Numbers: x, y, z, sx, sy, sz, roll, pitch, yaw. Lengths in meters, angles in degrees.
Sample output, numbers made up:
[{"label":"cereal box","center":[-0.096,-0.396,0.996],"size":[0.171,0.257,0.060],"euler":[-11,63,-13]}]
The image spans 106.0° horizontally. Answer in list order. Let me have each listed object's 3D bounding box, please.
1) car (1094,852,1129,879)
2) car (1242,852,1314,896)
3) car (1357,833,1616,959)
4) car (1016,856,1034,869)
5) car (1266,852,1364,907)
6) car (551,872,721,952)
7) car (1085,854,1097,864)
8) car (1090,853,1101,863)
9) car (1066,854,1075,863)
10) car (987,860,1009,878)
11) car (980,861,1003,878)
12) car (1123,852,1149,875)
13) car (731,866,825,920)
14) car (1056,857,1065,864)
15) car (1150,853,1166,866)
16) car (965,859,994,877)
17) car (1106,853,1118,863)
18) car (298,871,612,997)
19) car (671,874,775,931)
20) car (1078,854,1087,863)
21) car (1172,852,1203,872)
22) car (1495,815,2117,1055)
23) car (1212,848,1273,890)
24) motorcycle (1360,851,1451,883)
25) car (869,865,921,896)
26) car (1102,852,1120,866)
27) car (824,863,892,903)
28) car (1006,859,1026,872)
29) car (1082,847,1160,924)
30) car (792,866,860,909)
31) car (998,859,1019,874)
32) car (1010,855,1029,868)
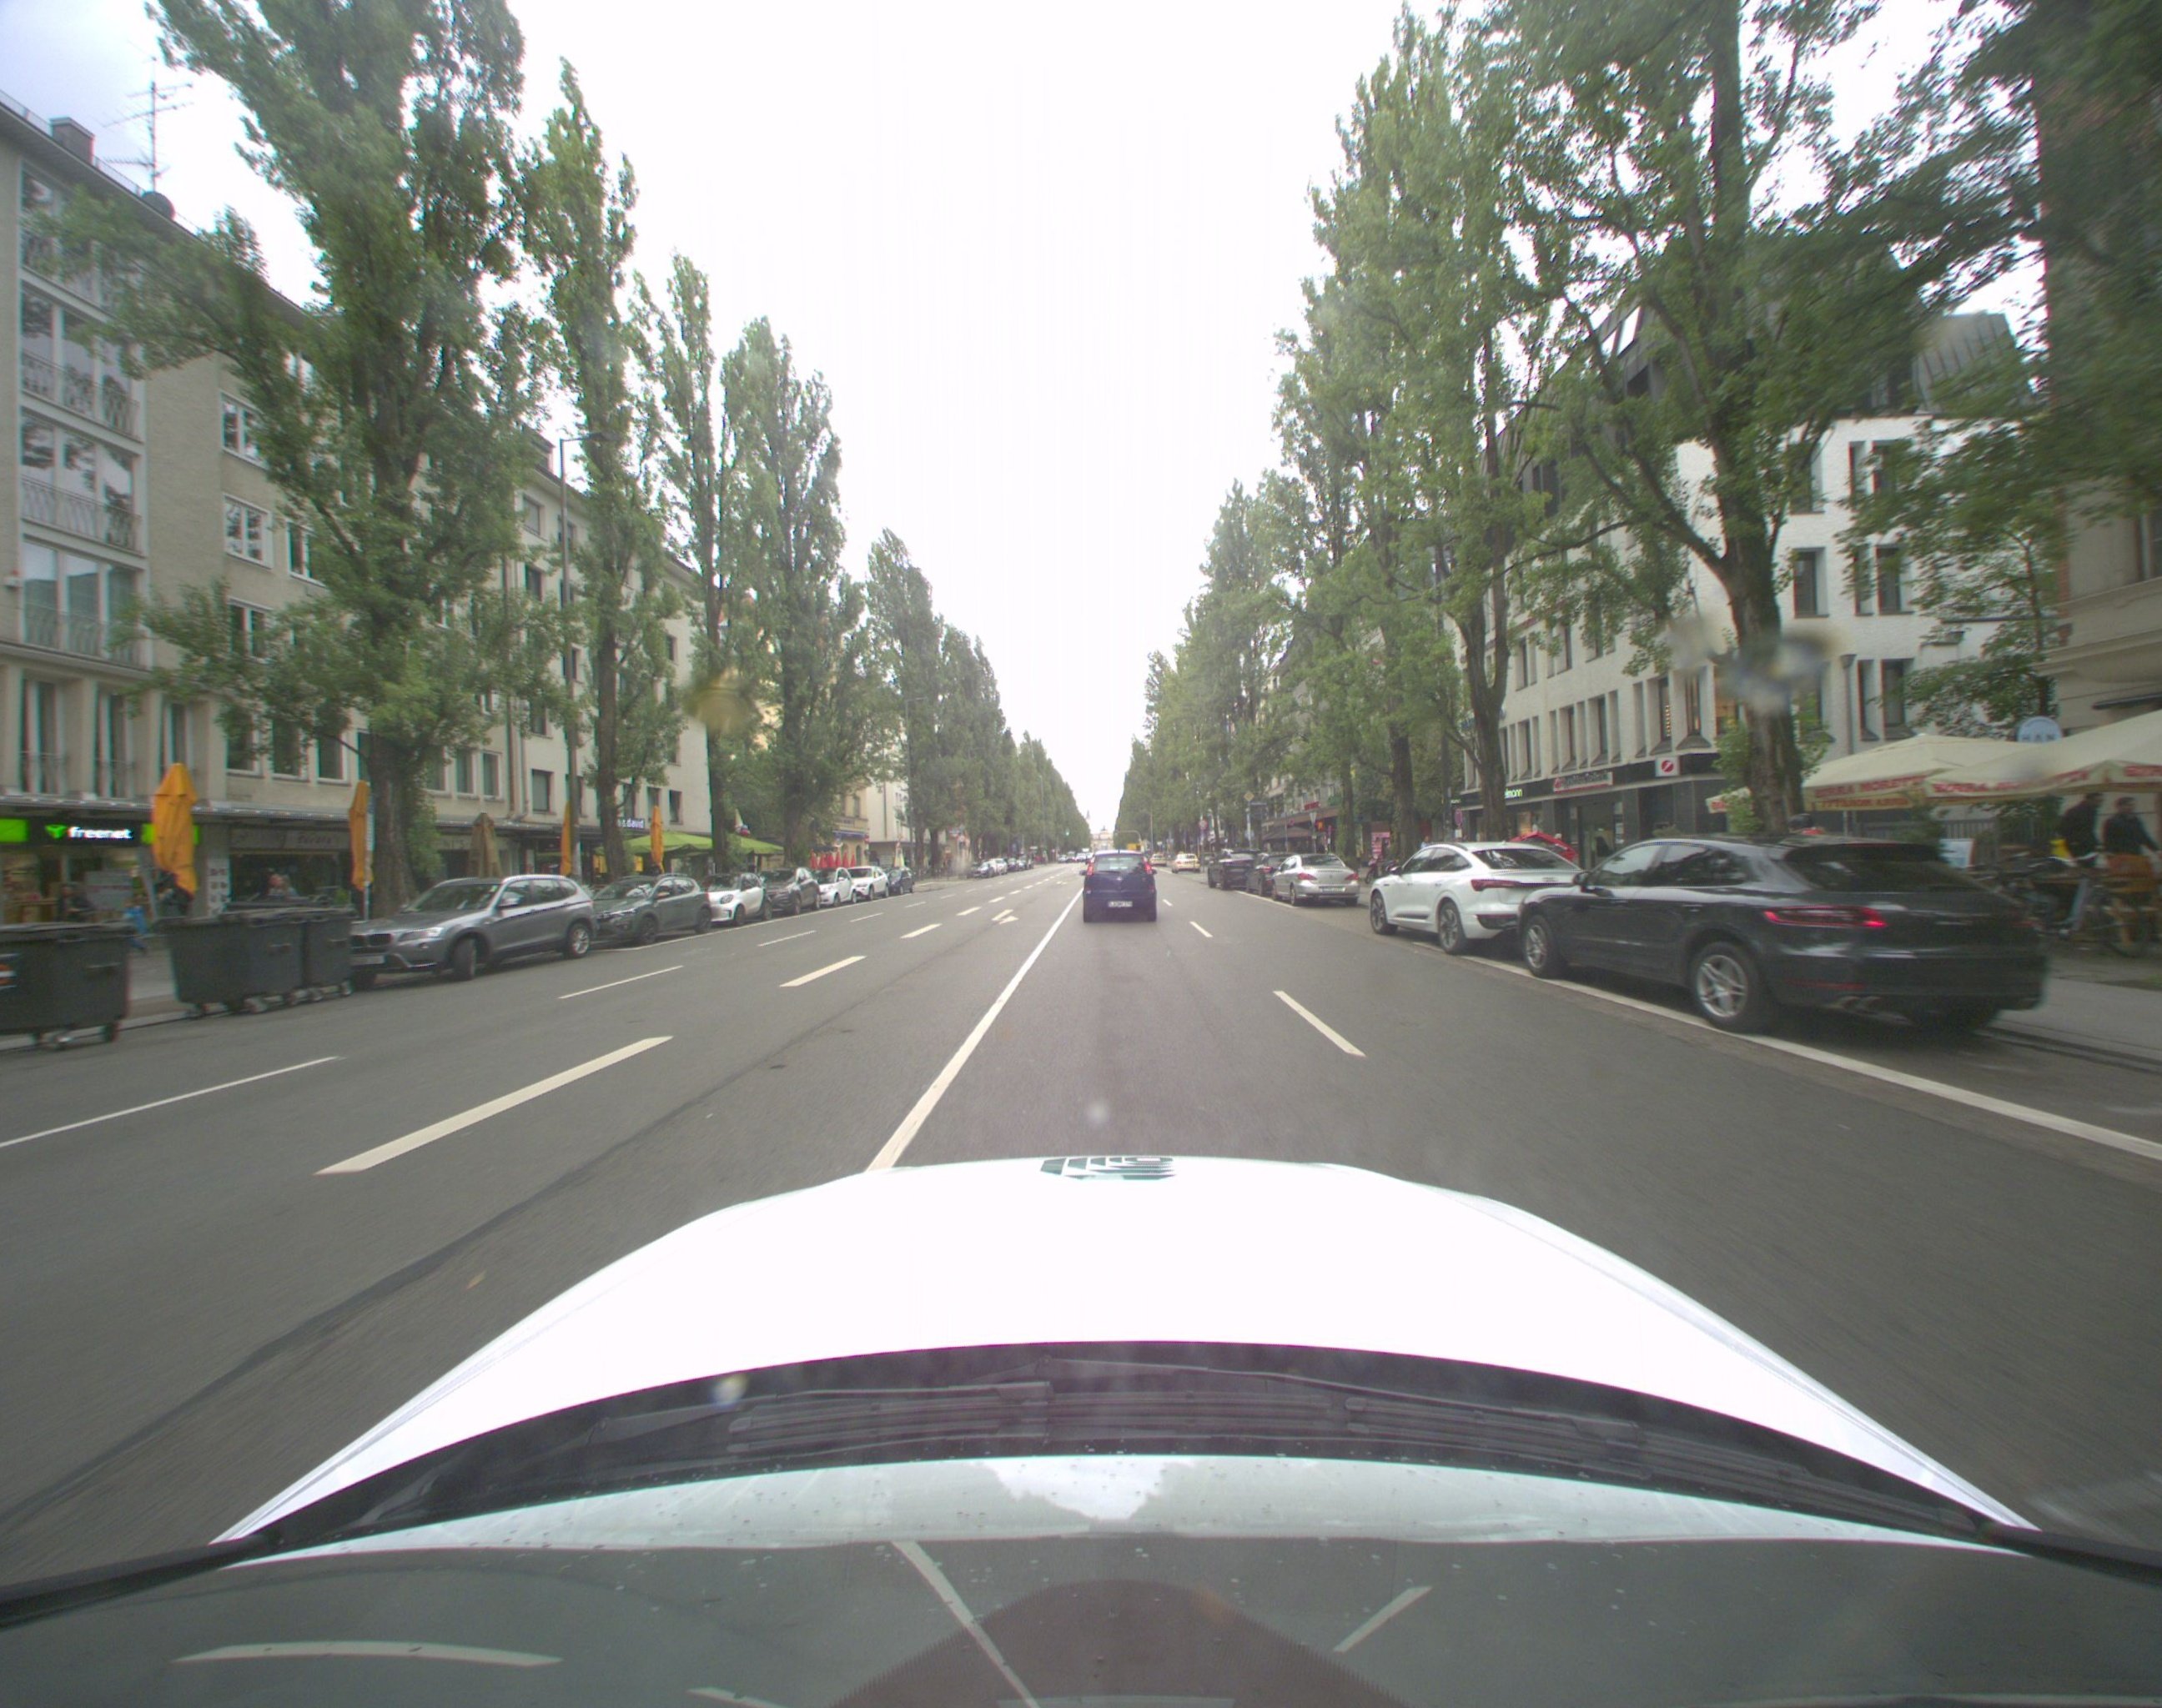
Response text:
[{"label":"car","center":[1.832,0.675,50.063],"size":[1.987,1.497,4.000],"euler":[-2,0,1]},{"label":"car","center":[6.737,0.655,28.192],"size":[1.676,1.415,3.583],"euler":[0,0,1]},{"label":"car","center":[6.113,0.557,13.033],"size":[1.821,1.621,4.748],"euler":[-1,0,1]},{"label":"car","center":[-7.433,1.116,108.501],"size":[1.987,1.662,4.000],"euler":[-2,0,1]},{"label":"car","center":[6.570,0.669,23.262],"size":[1.664,1.406,4.128],"euler":[0,0,1]},{"label":"car","center":[-10.298,1.271,19.251],"size":[1.692,1.550,4.082],"euler":[-2,0,0]},{"label":"car","center":[1.642,0.817,131.185],"size":[1.955,1.399,3.779],"euler":[-2,0,1]},{"label":"car","center":[2.525,0.733,143.681],"size":[1.828,1.761,3.779],"euler":[-2,0,1]},{"label":"car","center":[-2.254,0.972,176.555],"size":[1.828,1.739,3.779],"euler":[-2,0,1]},{"label":"car","center":[-8.118,1.448,79.632],"size":[1.648,1.562,3.458],"euler":[-2,0,1]},{"label":"car","center":[-8.193,1.443,74.730],"size":[1.541,1.453,3.458],"euler":[-2,0,1]},{"label":"car","center":[4.119,0.686,61.861],"size":[1.700,1.574,4.001],"euler":[-3,0,1]},{"label":"car","center":[-10.240,1.259,27.842],"size":[1.836,1.565,4.174],"euler":[-2,0,-4]},{"label":"car","center":[-4.676,1.457,188.651],"size":[1.955,1.549,3.779],"euler":[-2,0,1]},{"label":"car","center":[8.951,0.654,94.875],"size":[1.663,1.352,4.106],"euler":[-2,0,2]},{"label":"car","center":[-8.529,1.158,68.744],"size":[1.824,1.420,3.812],"euler":[-2,0,1]},{"label":"car","center":[5.336,0.643,140.041],"size":[1.955,1.677,3.779],"euler":[-2,0,1]},{"label":"car","center":[-10.684,1.242,14.478],"size":[1.858,1.654,4.615],"euler":[-4,0,0]},{"label":"car","center":[-10.341,1.350,23.744],"size":[1.626,1.428,2.983],"euler":[-2,0,0]},{"label":"car","center":[0.340,0.847,164.707],"size":[1.828,1.677,3.779],"euler":[-2,0,1]},{"label":"car","center":[7.867,0.590,60.319],"size":[1.890,1.362,3.901],"euler":[-2,0,2]},{"label":"car","center":[6.096,0.559,7.813],"size":[1.986,1.565,4.484],"euler":[-2,0,1]},{"label":"car","center":[6.500,0.583,33.202],"size":[1.791,1.594,4.106],"euler":[0,0,2]},{"label":"motorcycle","center":[12.695,0.505,31.911],"size":[3.115,1.090,1.191],"euler":[-2,0,-6]},{"label":"car","center":[-9.422,1.319,41.465],"size":[1.579,1.447,3.394],"euler":[-2,0,4]},{"label":"car","center":[3.423,0.595,93.674],"size":[1.987,1.497,4.000],"euler":[-2,0,1]},{"label":"car","center":[-9.844,1.248,36.226],"size":[1.829,1.546,4.085],"euler":[-2,0,0]},{"label":"car","center":[-7.749,1.406,97.682],"size":[1.955,1.399,3.779],"euler":[-2,0,1]},{"label":"car","center":[0.903,0.675,19.748],"size":[1.675,1.641,4.000],"euler":[-1,0,1]},{"label":"car","center":[-10.045,1.277,32.249],"size":[1.566,1.534,2.925],"euler":[-2,0,4]},{"label":"car","center":[-8.110,1.407,91.447],"size":[1.955,1.530,4.000],"euler":[-2,0,0]},{"label":"car","center":[-7.662,0.886,102.119],"size":[1.955,1.549,3.779],"euler":[-2,0,1]}]
